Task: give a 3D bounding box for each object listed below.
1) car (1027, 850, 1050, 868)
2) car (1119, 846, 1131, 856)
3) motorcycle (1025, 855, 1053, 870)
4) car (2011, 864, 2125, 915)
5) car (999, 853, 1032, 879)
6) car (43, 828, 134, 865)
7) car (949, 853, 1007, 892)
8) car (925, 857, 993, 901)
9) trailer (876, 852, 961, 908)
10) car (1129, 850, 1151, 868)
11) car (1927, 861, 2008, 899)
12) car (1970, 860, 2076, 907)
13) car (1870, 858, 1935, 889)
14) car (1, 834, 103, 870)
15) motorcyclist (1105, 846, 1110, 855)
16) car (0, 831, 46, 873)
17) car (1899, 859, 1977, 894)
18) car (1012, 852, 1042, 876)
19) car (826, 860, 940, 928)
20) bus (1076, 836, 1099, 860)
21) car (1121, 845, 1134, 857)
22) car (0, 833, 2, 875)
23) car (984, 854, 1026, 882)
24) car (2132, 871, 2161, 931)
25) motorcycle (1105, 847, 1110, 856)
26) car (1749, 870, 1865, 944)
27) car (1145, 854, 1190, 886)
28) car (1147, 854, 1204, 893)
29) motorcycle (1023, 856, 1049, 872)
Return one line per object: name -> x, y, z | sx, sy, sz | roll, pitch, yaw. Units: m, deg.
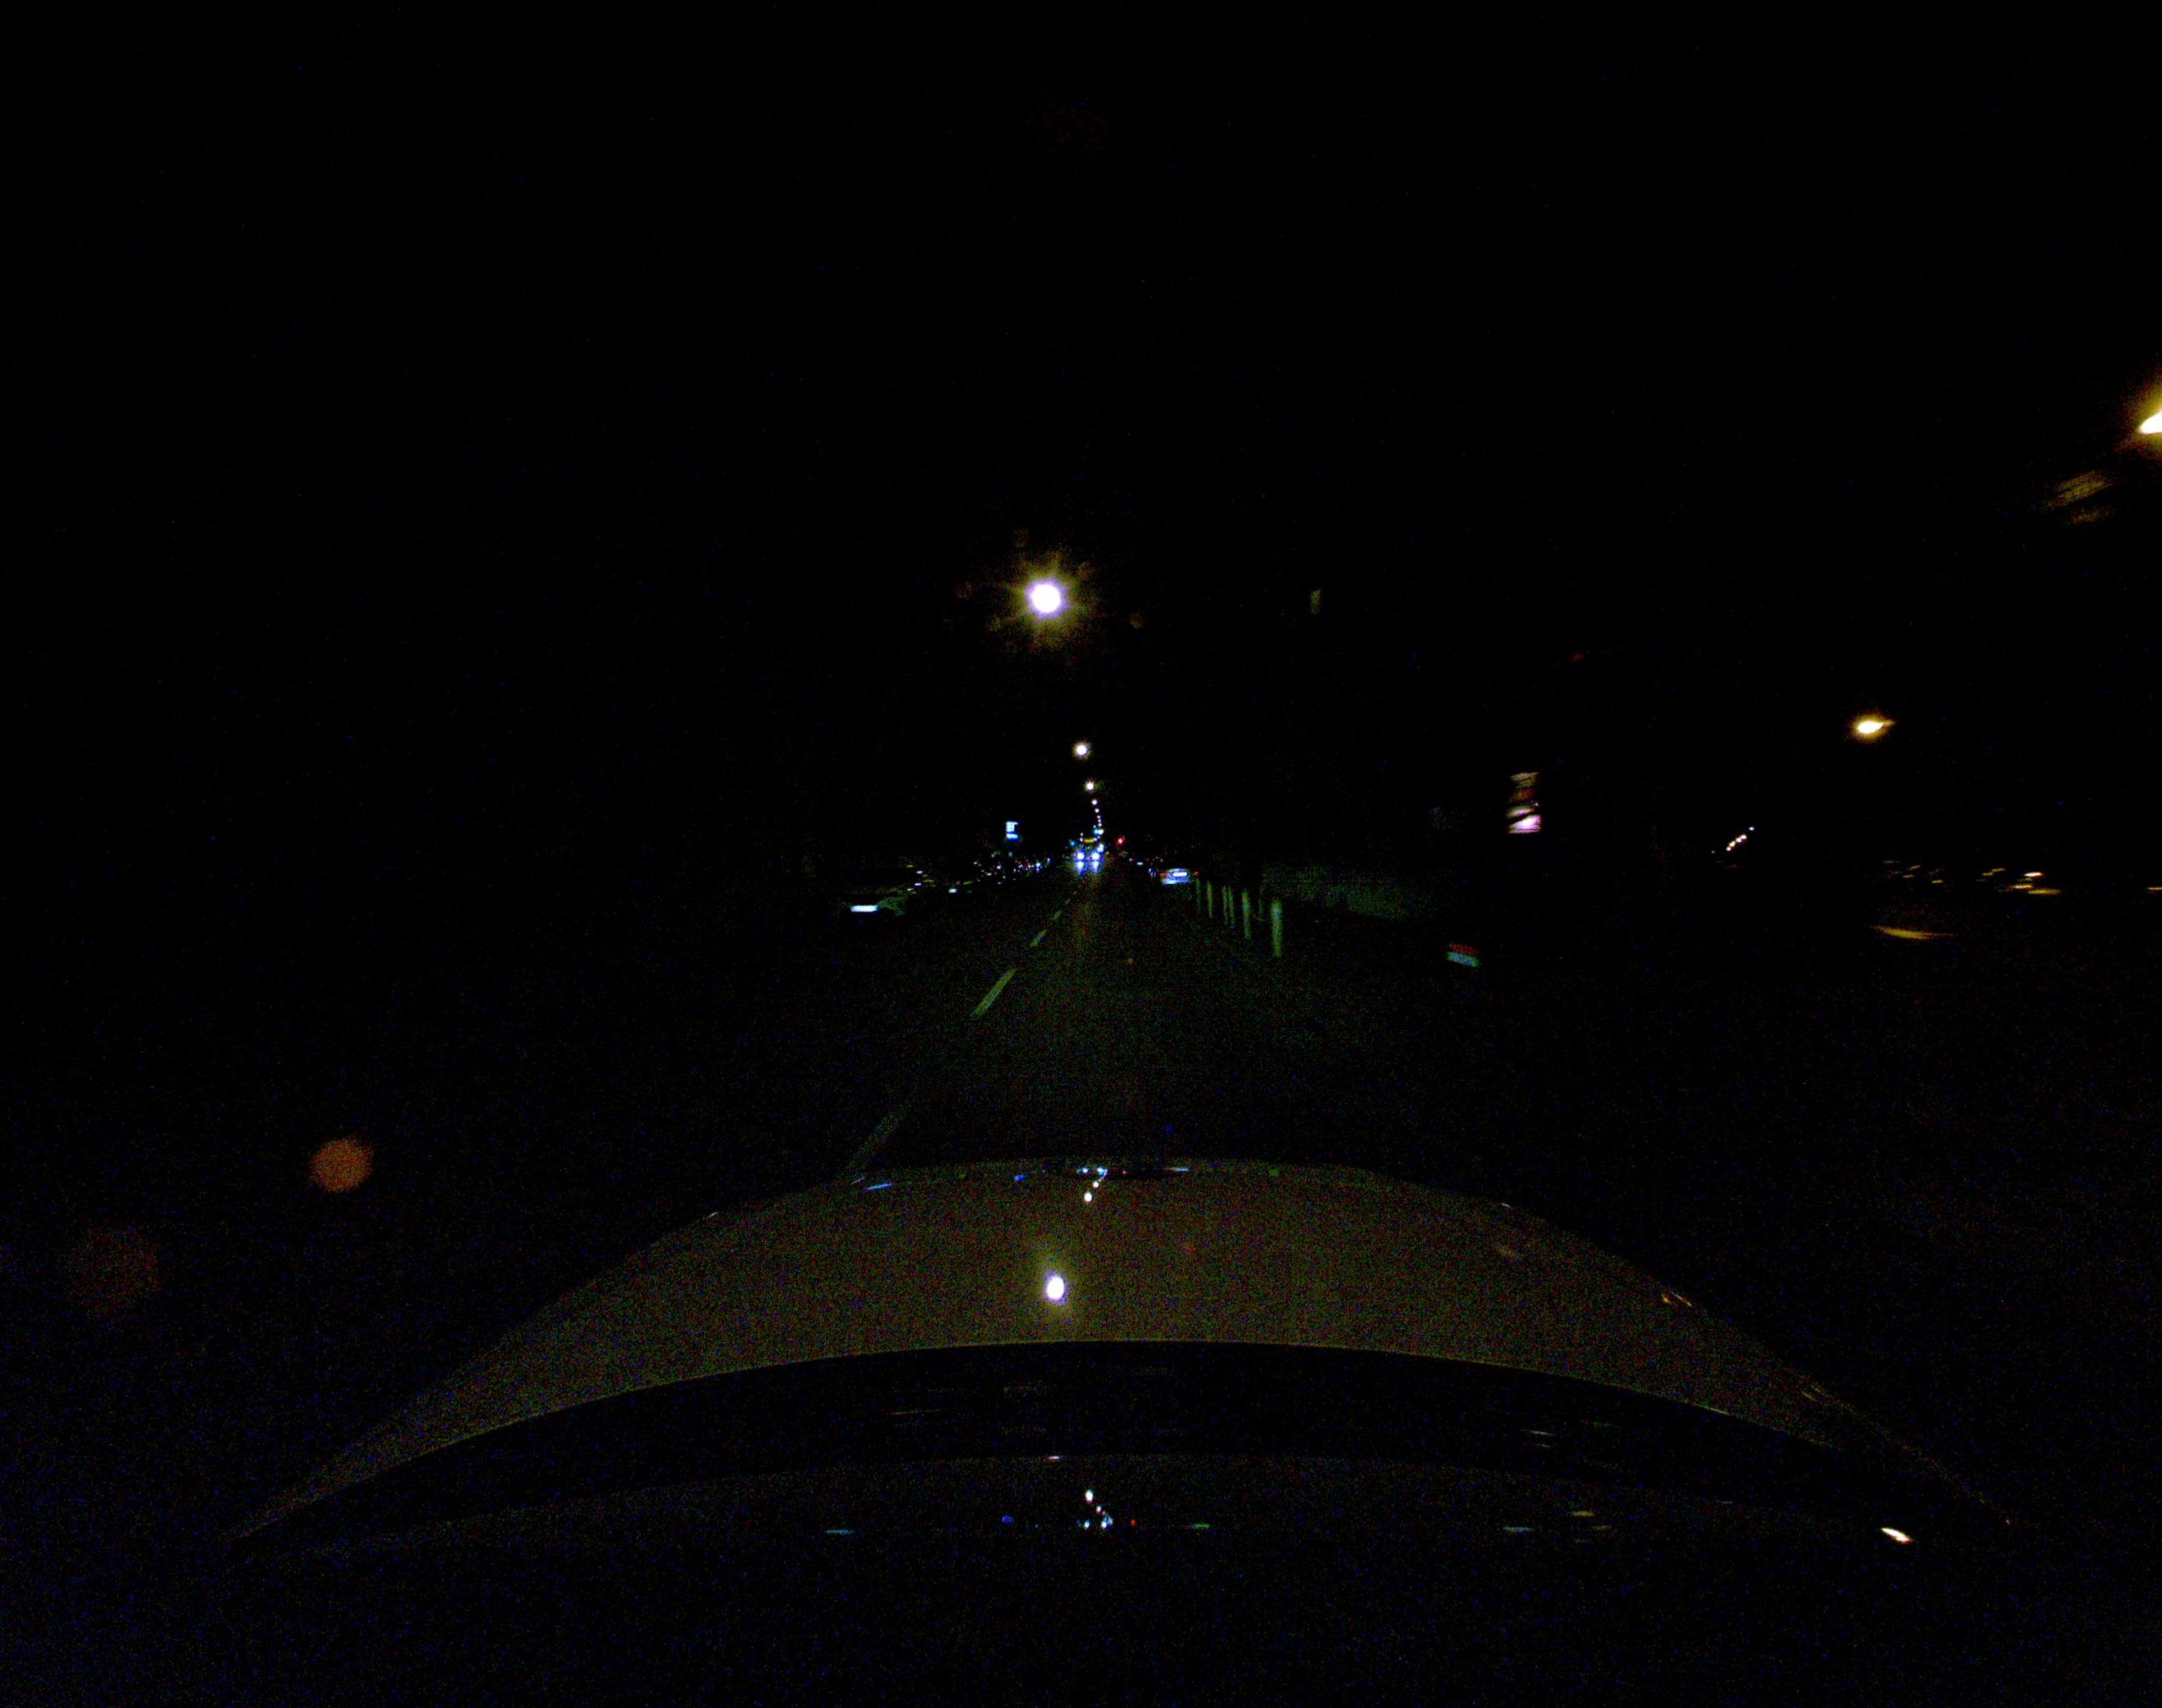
car -> -3.605, 0.419, 68.860 | 1.632, 1.498, 2.767 | -1, 0, 3
car -> 7.241, -0.452, 134.659 | 1.862, 1.526, 4.152 | -2, 1, 2
motorcycle -> -3.290, 0.660, 63.440 | 2.180, 1.131, 0.720 | -1, 1, 34
car -> 33.345, 1.147, 27.627 | 1.779, 1.579, 3.861 | 0, 0, 40
car -> -3.917, 0.699, 49.444 | 1.616, 1.491, 3.781 | 0, 0, 1
car -> -46.136, -0.327, 37.945 | 1.821, 1.635, 3.584 | 1, 0, -36
car -> -4.503, 0.767, 36.308 | 1.828, 1.619, 4.547 | 0, 0, 2
car -> -4.580, 0.888, 31.137 | 1.829, 1.446, 4.545 | -1, 1, 1
trailer -> -4.990, 0.765, 25.460 | 1.629, 1.639, 3.445 | 0, 0, 6
car -> 5.227, 0.407, 72.262 | 1.756, 1.476, 4.082 | -2, 1, 2
car -> 41.877, 1.177, 38.568 | 1.974, 1.704, 4.020 | 0, 0, 38
car -> 36.550, 1.078, 31.723 | 1.974, 1.704, 4.056 | 0, 0, 38
car -> 50.002, 1.126, 49.638 | 1.974, 1.802, 4.025 | 0, 0, 33
car -> -43.872, -0.112, 34.814 | 1.776, 1.481, 3.670 | 0, 1, -36
motorcyclist -> 5.095, -0.648, 156.693 | 0.845, 1.752, 0.806 | 0, -1, 1
car -> -40.576, -0.112, 30.322 | 1.777, 1.481, 3.668 | 0, 1, -40
car -> 45.596, 1.174, 43.431 | 1.974, 1.763, 4.025 | 0, 0, 33
car -> -3.769, 0.667, 57.184 | 1.698, 1.491, 4.229 | -2, 1, 1
car -> -4.878, 0.925, 20.669 | 1.808, 1.484, 4.347 | 0, 0, 0
bus -> 0.987, -0.852, 113.508 | 2.827, 3.177, 10.503 | 0, 1, 2
car -> 6.883, -0.460, 121.100 | 1.805, 1.594, 4.275 | -2, 1, 2
car -> -37.998, 0.043, 27.079 | 1.777, 1.481, 3.668 | 0, 1, -40
car -> -4.115, 0.736, 44.623 | 1.857, 1.491, 4.281 | 0, 0, 1
car -> 26.350, 1.131, 18.760 | 1.779, 1.417, 3.861 | 0, 0, 39
motorcycle -> 5.087, -0.446, 156.429 | 0.927, 1.752, 2.626 | 0, 0, 2
car -> 16.294, 1.107, 18.451 | 1.779, 1.417, 3.861 | 0, 0, 39
car -> 4.131, 0.733, 39.370 | 1.764, 1.448, 4.020 | -1, 0, 1
car -> 3.840, 0.760, 33.792 | 1.838, 1.417, 4.646 | -4, 0, 1
motorcycle -> -3.405, 0.764, 61.423 | 0.719, 1.147, 2.183 | -2, 1, -41
